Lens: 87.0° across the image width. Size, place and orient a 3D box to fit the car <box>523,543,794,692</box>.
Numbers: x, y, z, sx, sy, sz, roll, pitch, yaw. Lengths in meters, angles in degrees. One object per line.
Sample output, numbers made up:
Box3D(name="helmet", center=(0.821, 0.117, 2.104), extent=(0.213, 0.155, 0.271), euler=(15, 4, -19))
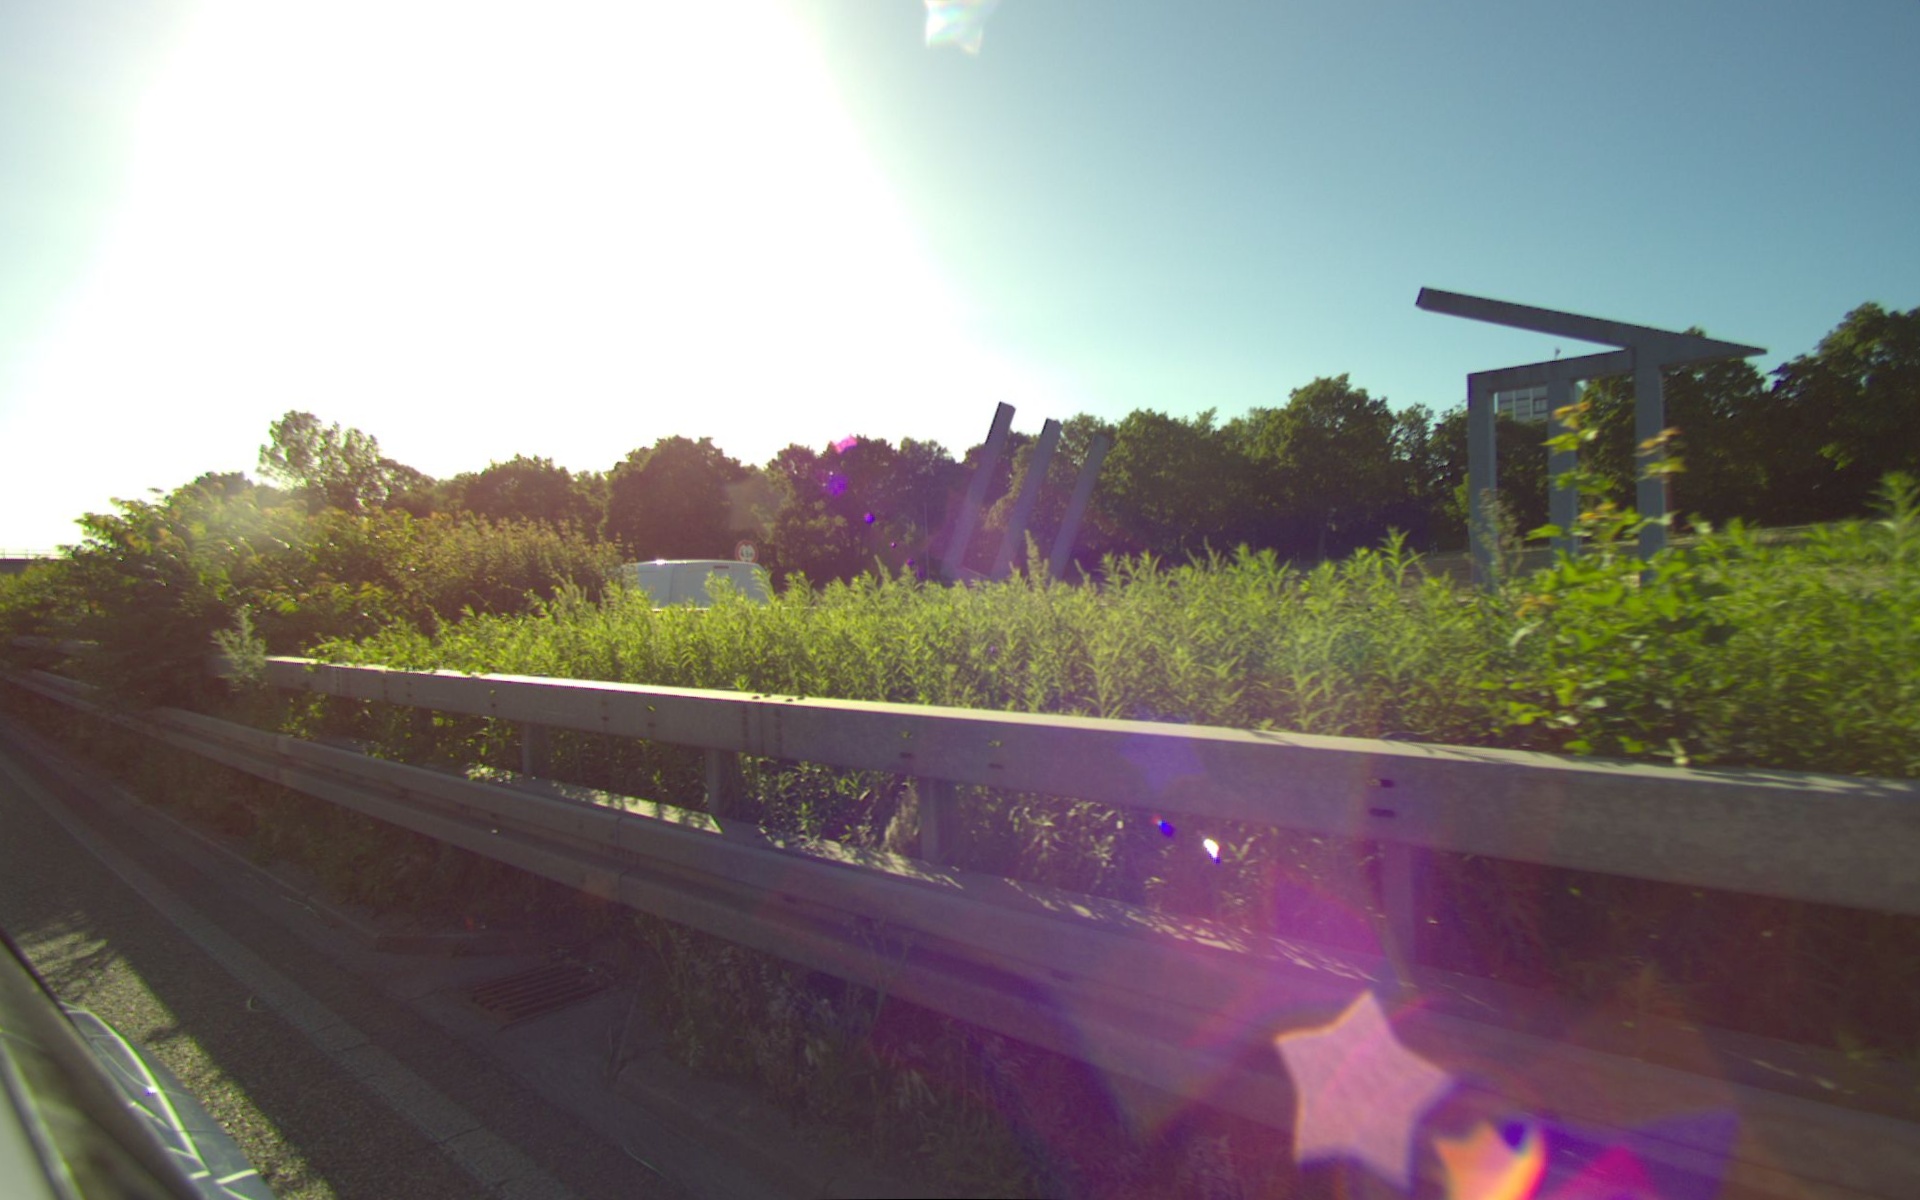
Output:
Box3D(name="car", center=(-4.164, 0.228, 13.675), extent=(3.894, 1.729, 1.667), euler=(-2, 0, 41))
